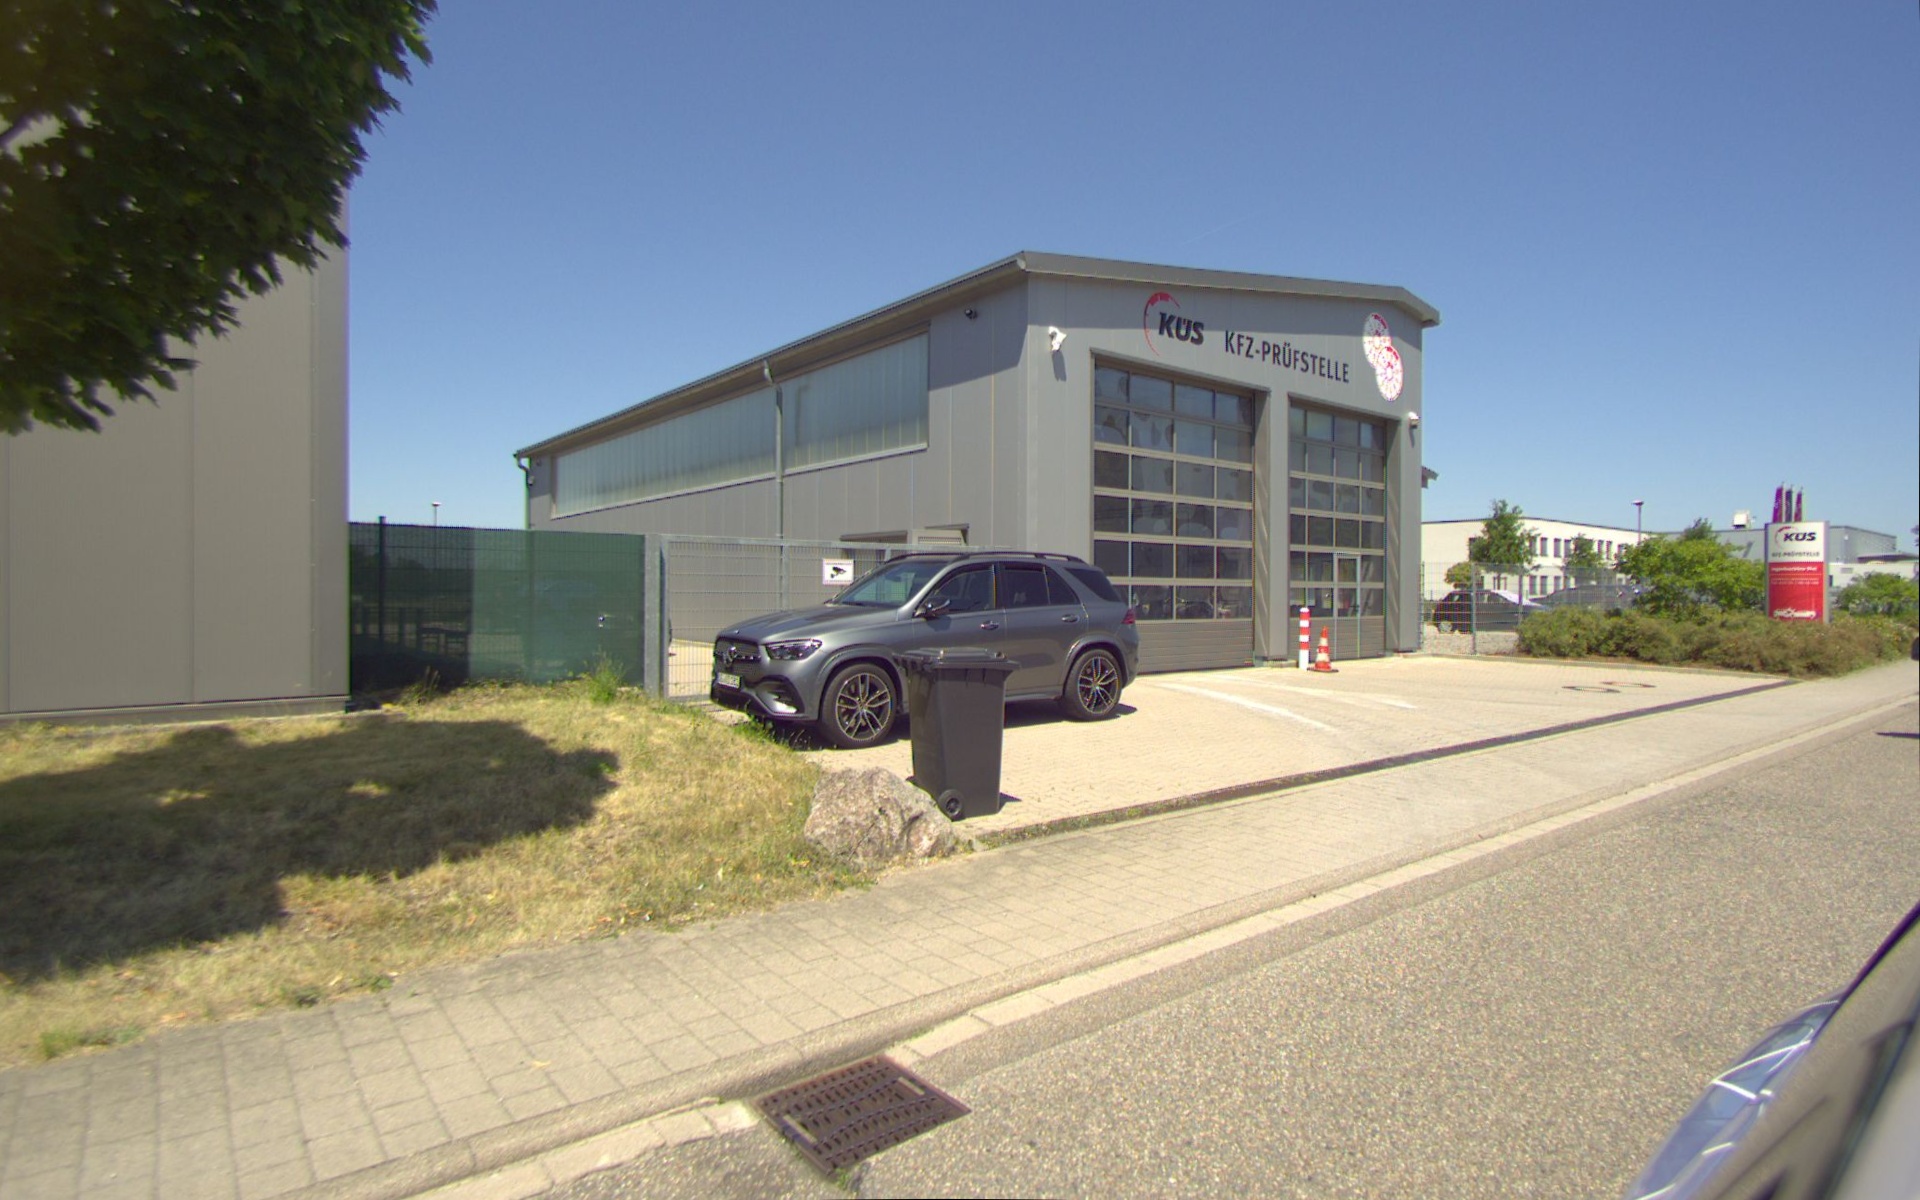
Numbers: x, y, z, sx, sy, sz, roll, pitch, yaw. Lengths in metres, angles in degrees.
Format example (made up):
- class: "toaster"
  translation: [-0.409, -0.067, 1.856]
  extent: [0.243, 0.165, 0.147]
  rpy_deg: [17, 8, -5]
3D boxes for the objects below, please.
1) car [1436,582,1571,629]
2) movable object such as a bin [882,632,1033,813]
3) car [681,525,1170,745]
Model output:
- class: "car"
  translation: [17.003, 0.154, 31.711]
  extent: [1.762, 1.387, 3.353]
  rpy_deg: [0, 0, -43]
- class: "movable object such as a bin"
  translation: [-0.025, 0.762, 6.636]
  extent: [0.793, 1.059, 0.619]
  rpy_deg: [0, 1, -26]
- class: "car"
  translation: [-0.235, 0.235, 10.757]
  extent: [4.823, 1.833, 2.158]
  rpy_deg: [-1, 2, -37]
